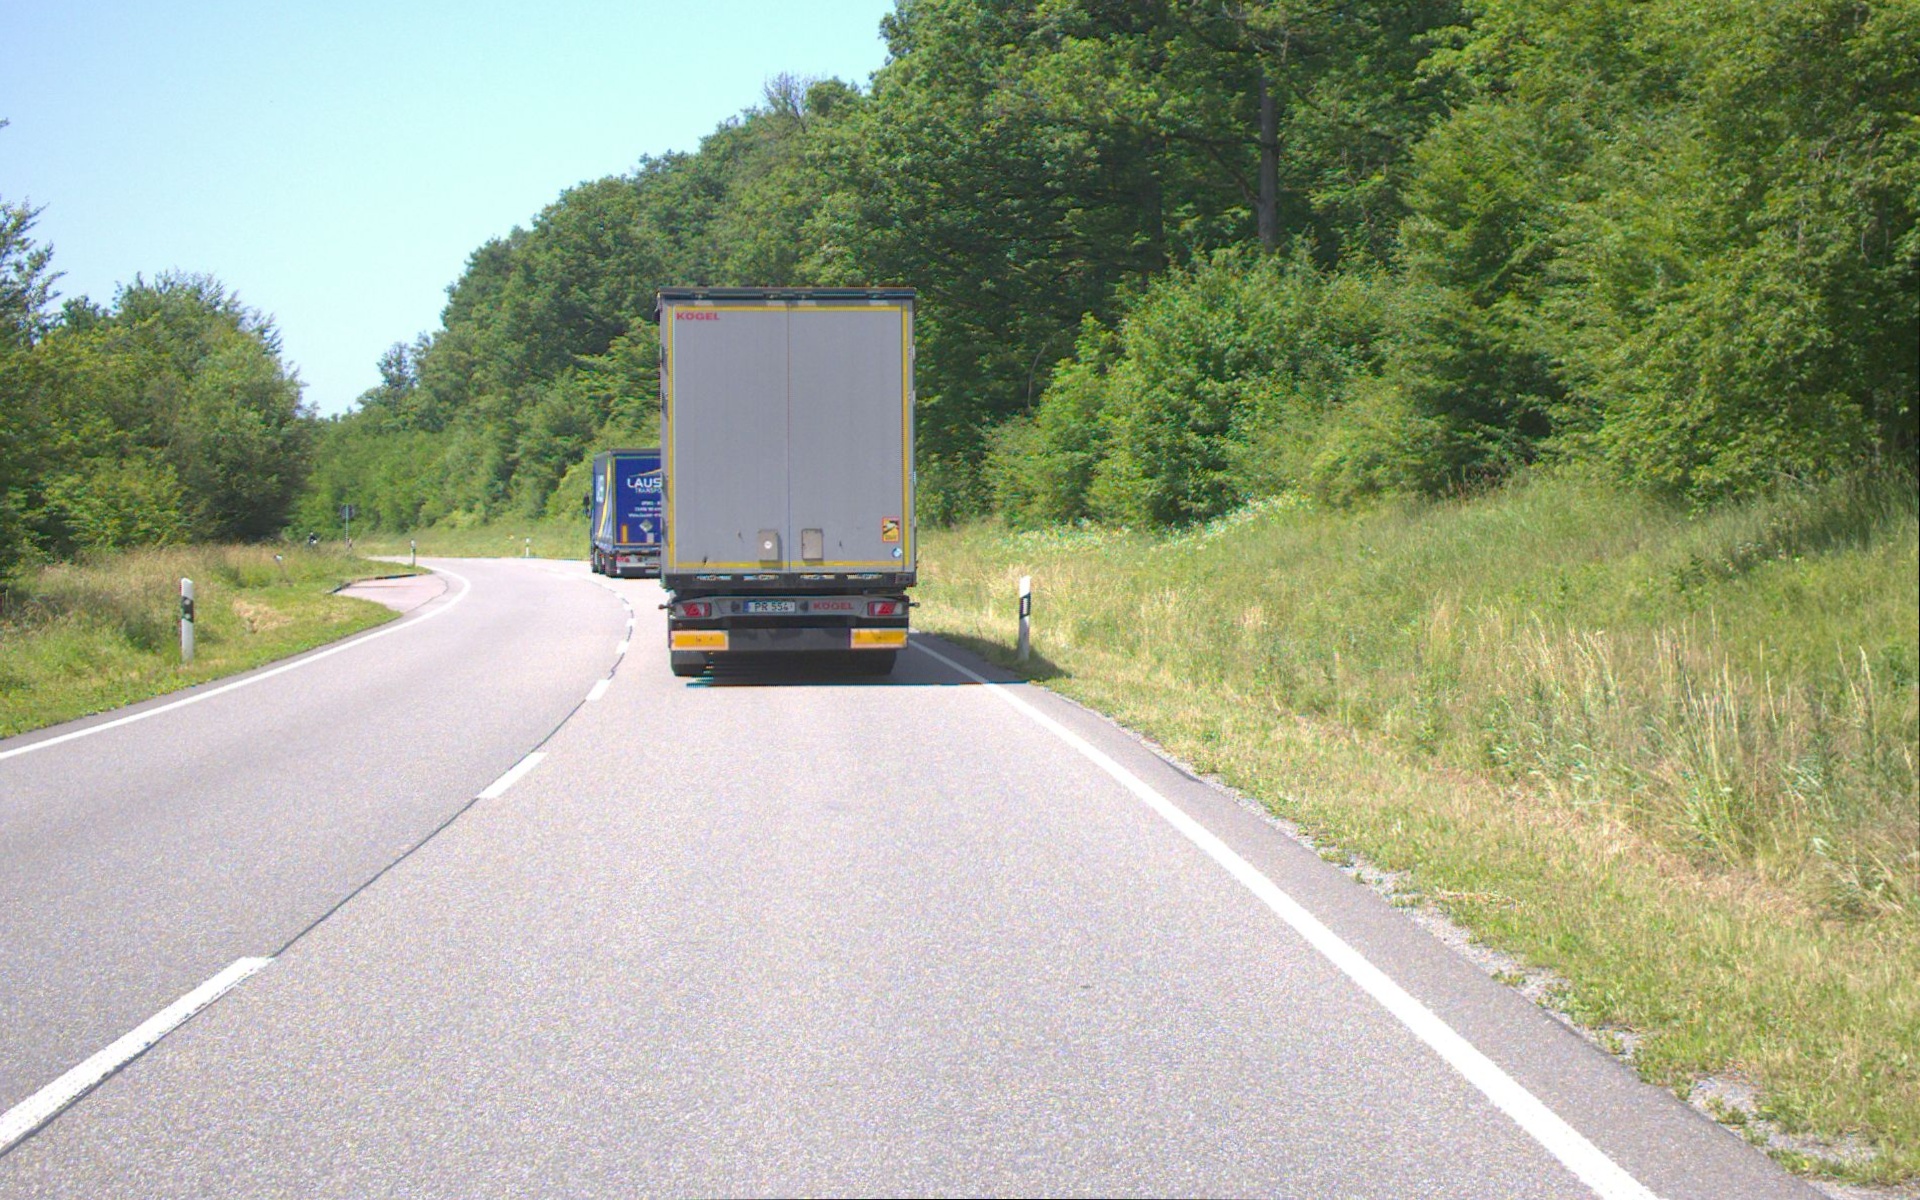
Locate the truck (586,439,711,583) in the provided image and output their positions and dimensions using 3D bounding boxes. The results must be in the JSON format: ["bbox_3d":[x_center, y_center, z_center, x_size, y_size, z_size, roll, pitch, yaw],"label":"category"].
[{"bbox_3d":[-10.327,-2.885,112.764,3.792,4.358,14.923,1,1,-6],"label":"truck"}]

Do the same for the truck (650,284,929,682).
[{"bbox_3d":[-2.014,-1.285,40.225,2.761,3.933,12.199,0,1,-3],"label":"truck"}]
